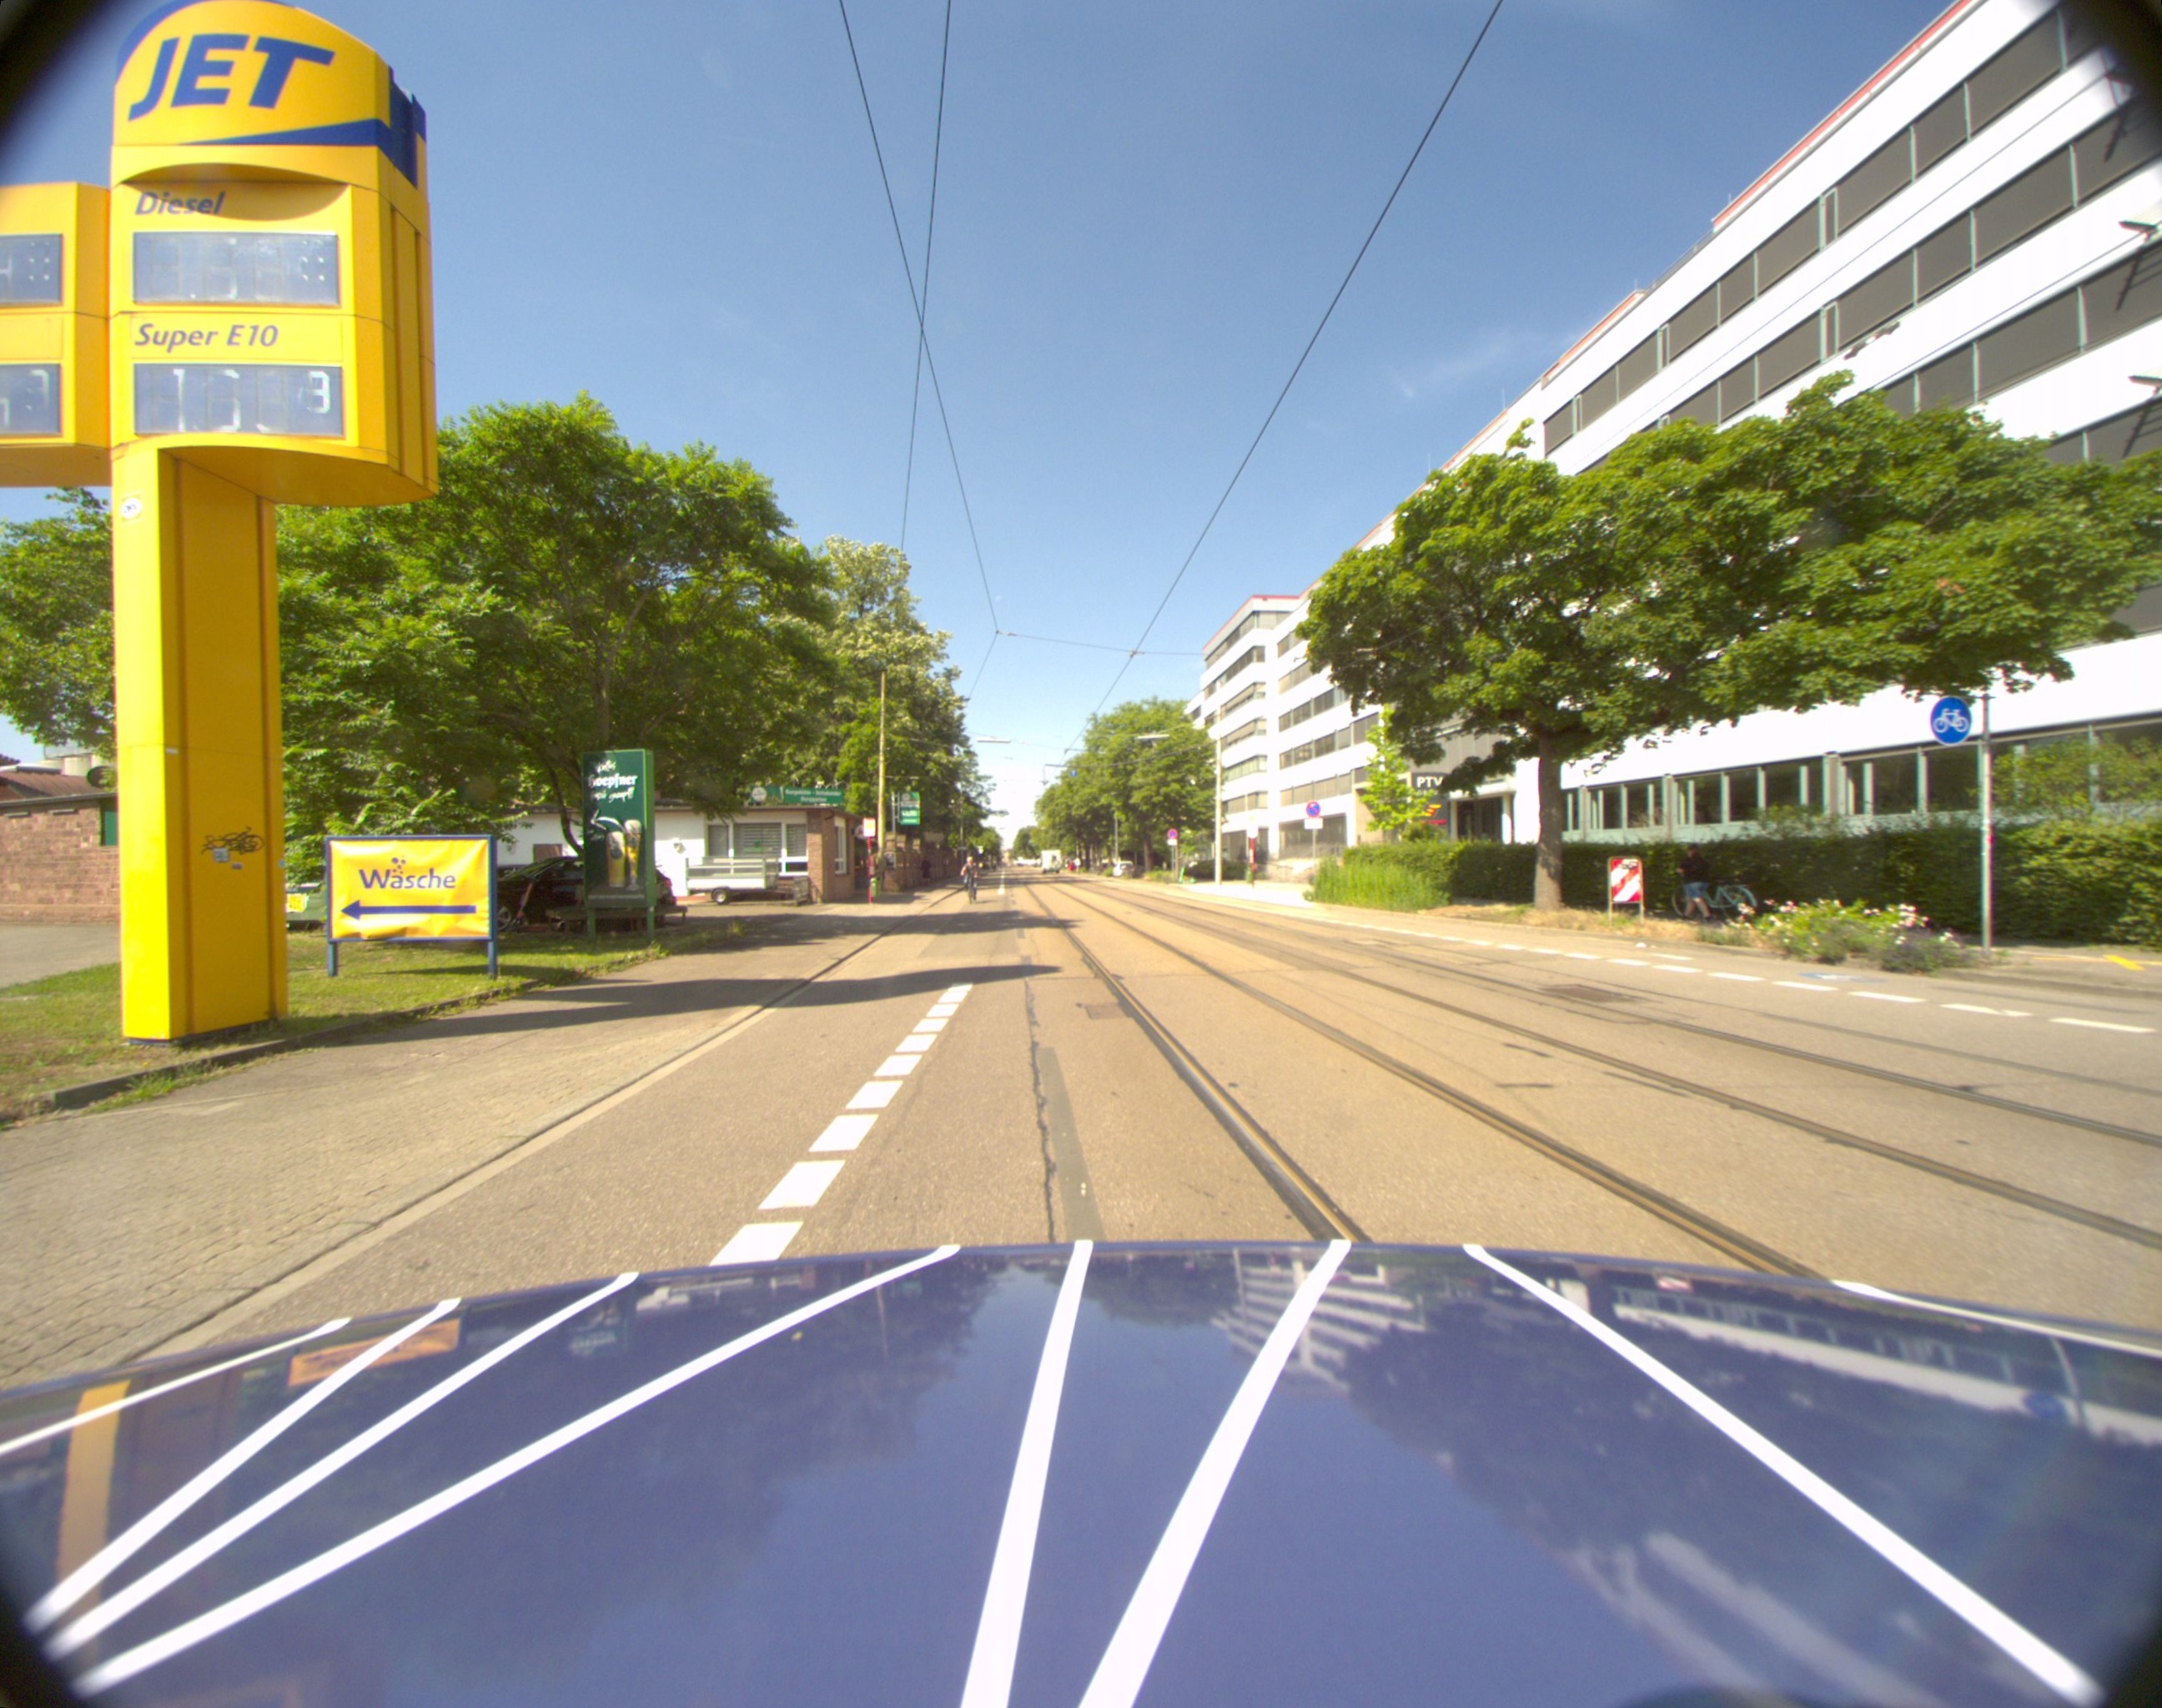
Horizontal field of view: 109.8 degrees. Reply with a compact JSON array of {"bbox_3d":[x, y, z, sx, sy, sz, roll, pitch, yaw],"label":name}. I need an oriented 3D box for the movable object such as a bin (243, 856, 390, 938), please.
[{"bbox_3d":[-14.653,0.797,14.636,1.421,1.493,1.379,-1,0,-2],"label":"movable object such as a bin"}]

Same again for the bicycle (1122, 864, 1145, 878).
[{"bbox_3d":[4.553,1.438,66.115,1.910,1.162,0.818,-1,0,-5],"label":"bicycle"}]

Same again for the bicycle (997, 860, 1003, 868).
[{"bbox_3d":[-17.131,2.114,160.607,1.000,1.733,3.162,-2,0,-5],"label":"bicycle"}]

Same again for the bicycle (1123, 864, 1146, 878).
[{"bbox_3d":[4.640,1.452,65.474,1.878,1.135,0.686,-1,0,-5],"label":"bicycle"}]

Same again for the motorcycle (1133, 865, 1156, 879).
[{"bbox_3d":[5.180,1.453,62.017,1.729,1.080,0.658,-1,0,-5],"label":"motorcycle"}]

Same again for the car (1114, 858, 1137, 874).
[{"bbox_3d":[4.090,1.104,70.059,1.634,1.463,3.629,-1,0,-4],"label":"car"}]

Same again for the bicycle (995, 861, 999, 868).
[{"bbox_3d":[-13.714,1.647,123.560,0.593,1.099,2.053,-1,0,-4],"label":"bicycle"}]

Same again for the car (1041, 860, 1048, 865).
[{"bbox_3d":[-10.394,2.451,215.332,1.634,1.463,4.112,-1,0,-5],"label":"car"}]

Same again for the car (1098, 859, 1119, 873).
[{"bbox_3d":[2.943,1.280,82.682,1.635,1.474,4.270,-1,0,-7],"label":"car"}]

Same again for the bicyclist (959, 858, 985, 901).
[{"bbox_3d":[-4.103,0.956,28.623,0.906,1.586,0.964,-1,0,-6],"label":"bicyclist"}]

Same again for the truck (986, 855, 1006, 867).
[{"bbox_3d":[-27.619,2.297,247.961,2.816,3.836,10.014,-1,-1,17],"label":"truck"}]

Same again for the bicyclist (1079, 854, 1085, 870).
[{"bbox_3d":[0.125,0.890,88.375,0.638,1.860,1.024,-1,0,-5],"label":"bicyclist"}]

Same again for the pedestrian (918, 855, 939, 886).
[{"bbox_3d":[-9.148,0.972,45.581,0.979,1.805,1.184,3,0,-4],"label":"pedestrian"}]

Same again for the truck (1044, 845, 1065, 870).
[{"bbox_3d":[-3.452,0.508,98.051,2.409,3.090,6.034,0,0,-5],"label":"truck"}]

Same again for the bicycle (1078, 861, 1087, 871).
[{"bbox_3d":[0.165,1.363,88.278,0.858,1.103,2.138,-1,0,-5],"label":"bicycle"}]

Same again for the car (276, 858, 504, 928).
[{"bbox_3d":[-17.308,0.896,19.193,1.842,1.548,4.009,0,0,39],"label":"car"}]

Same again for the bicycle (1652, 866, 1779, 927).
[{"bbox_3d":[12.450,0.791,15.014,0.638,1.111,2.066,0,0,-6],"label":"bicycle"}]

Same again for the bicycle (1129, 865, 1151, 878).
[{"bbox_3d":[4.934,1.479,63.399,1.729,1.080,0.639,-1,0,-5],"label":"bicycle"}]

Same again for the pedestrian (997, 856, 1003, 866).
[{"bbox_3d":[-17.186,1.467,160.565,1.107,2.002,1.166,-2,0,-6],"label":"pedestrian"}]

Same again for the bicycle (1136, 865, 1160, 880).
[{"bbox_3d":[5.257,1.450,59.803,1.729,1.080,0.789,-1,0,-5],"label":"bicycle"}]

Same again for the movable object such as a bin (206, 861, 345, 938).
[{"bbox_3d":[-16.379,0.894,15.491,1.420,1.493,1.381,-1,0,11],"label":"movable object such as a bin"}]

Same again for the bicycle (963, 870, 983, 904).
[{"bbox_3d":[-4.083,1.233,28.879,0.612,1.190,2.122,-4,0,-6],"label":"bicycle"}]

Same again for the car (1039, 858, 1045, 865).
[{"bbox_3d":[-12.172,2.353,236.314,1.634,1.935,4.112,-1,0,-5],"label":"car"}]

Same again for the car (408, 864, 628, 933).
[{"bbox_3d":[-13.748,0.996,18.739,1.842,1.465,4.009,0,0,39],"label":"car"}]

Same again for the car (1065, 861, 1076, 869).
[{"bbox_3d":[-1.832,1.970,131.514,1.635,1.347,3.899,-1,0,-7],"label":"car"}]

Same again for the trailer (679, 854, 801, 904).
[{"bbox_3d":[-11.293,0.800,25.334,3.283,1.594,1.723,0,0,-4],"label":"trailer"}]

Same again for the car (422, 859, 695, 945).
[{"bbox_3d":[-11.540,0.949,17.093,2.014,1.631,4.670,0,0,39],"label":"car"}]

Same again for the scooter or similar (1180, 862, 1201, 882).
[{"bbox_3d":[6.695,1.103,46.555,1.129,1.159,0.675,-1,0,-2],"label":"scooter or similar"}]

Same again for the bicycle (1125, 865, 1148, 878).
[{"bbox_3d":[4.738,1.493,64.802,1.854,1.125,0.680,-1,0,-5],"label":"bicycle"}]

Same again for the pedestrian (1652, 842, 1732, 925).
[{"bbox_3d":[11.974,0.568,14.919,0.688,1.554,0.988,-2,0,-9],"label":"pedestrian"}]

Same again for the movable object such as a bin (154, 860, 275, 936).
[{"bbox_3d":[-18.233,0.891,16.010,1.326,1.493,1.333,-1,0,24],"label":"movable object such as a bin"}]

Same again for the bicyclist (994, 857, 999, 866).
[{"bbox_3d":[-13.724,1.242,123.605,0.742,1.522,0.947,0,0,-4],"label":"bicyclist"}]
